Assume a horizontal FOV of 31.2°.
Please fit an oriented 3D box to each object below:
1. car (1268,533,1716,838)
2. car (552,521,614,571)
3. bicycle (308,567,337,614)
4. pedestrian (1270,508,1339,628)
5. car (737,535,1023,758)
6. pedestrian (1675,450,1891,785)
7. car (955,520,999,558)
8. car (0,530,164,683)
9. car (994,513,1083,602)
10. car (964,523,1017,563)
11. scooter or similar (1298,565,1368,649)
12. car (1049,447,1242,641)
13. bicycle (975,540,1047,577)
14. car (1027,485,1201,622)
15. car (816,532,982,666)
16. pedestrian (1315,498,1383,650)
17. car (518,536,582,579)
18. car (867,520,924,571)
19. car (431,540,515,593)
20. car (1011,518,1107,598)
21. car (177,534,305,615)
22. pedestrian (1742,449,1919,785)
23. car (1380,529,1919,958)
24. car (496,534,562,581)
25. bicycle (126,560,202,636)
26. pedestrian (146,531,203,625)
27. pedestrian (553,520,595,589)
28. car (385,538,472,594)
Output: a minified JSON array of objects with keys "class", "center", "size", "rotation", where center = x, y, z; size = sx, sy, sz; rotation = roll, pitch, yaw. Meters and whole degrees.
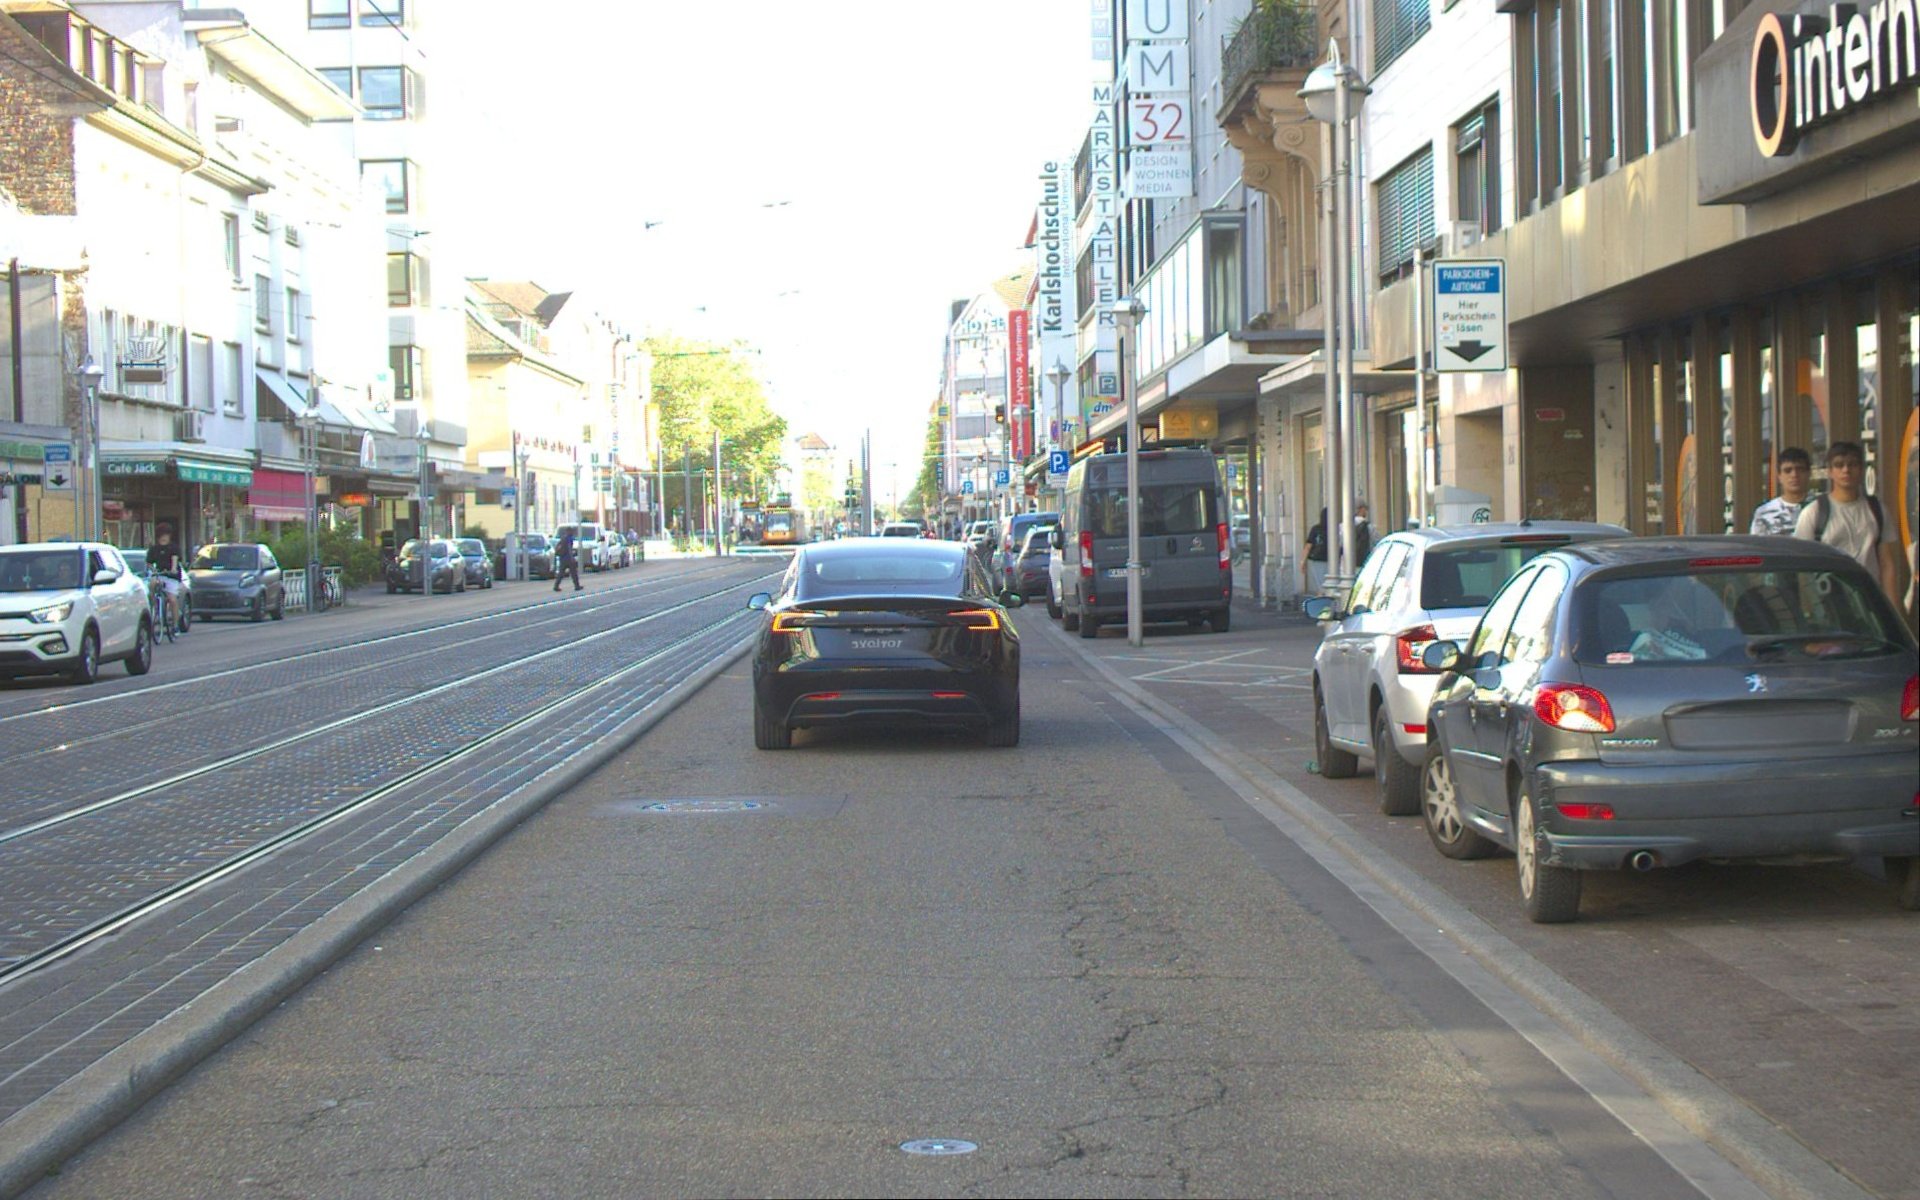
[{"class":"car","center":[2.825,0.381,19.158],"size":[1.745,1.457,4.296],"rotation":[-2,1,-1]},{"class":"car","center":[-15.250,-2.212,139.220],"size":[2.009,1.954,4.725],"rotation":[-1,1,-1]},{"class":"bicycle","center":[-13.974,-0.215,75.323],"size":[0.368,0.999,1.605],"rotation":[-2,1,-19]},{"class":"pedestrian","center":[4.596,-0.431,45.896],"size":[0.769,1.538,0.804],"rotation":[-3,1,-1]},{"class":"car","center":[-0.536,0.265,24.883],"size":[1.869,1.422,4.365],"rotation":[-1,2,0]},{"class":"pedestrian","center":[4.728,0.086,19.820],"size":[0.923,1.836,0.999],"rotation":[-3,1,0]},{"class":"car","center":[0.806,-2.899,164.043],"size":[1.993,1.747,4.000],"rotation":[-1,0,-1]},{"class":"car","center":[-10.424,0.053,38.694],"size":[1.890,1.588,4.263],"rotation":[-3,1,0]},{"class":"car","center":[1.683,-0.948,74.665],"size":[1.821,1.864,3.754],"rotation":[-1,2,0]},{"class":"car","center":[1.187,-2.245,135.550],"size":[1.993,1.537,4.000],"rotation":[-1,0,-1]},{"class":"scooter or similar","center":[4.400,0.076,40.598],"size":[0.593,0.933,1.299],"rotation":[-3,1,-2]},{"class":"car","center":[2.517,-0.807,48.116],"size":[2.171,2.453,5.362],"rotation":[-3,1,-1]},{"class":"bicycle","center":[1.580,-1.301,106.741],"size":[2.159,1.093,0.686],"rotation":[-1,1,-3]},{"class":"car","center":[2.397,-0.765,54.664],"size":[2.158,1.920,4.618],"rotation":[-4,2,-3]},{"class":"car","center":[-0.701,-0.031,39.178],"size":[1.761,1.414,4.355],"rotation":[-1,1,-1]},{"class":"pedestrian","center":[4.481,-0.307,39.632],"size":[0.556,1.708,0.955],"rotation":[-3,1,-2]},{"class":"car","center":[-14.996,-1.562,125.850],"size":[1.770,1.503,3.972],"rotation":[-1,1,1]},{"class":"car","center":[-2.416,-2.086,129.852],"size":[2.085,1.864,3.754],"rotation":[-1,2,0]},{"class":"car","center":[-14.519,-1.010,102.673],"size":[1.770,1.503,3.860],"rotation":[-1,1,3]},{"class":"car","center":[1.952,-0.863,68.527],"size":[1.751,1.494,3.754],"rotation":[-2,2,0]},{"class":"car","center":[-14.286,-0.533,68.456],"size":[1.675,1.540,3.743],"rotation":[1,1,1]},{"class":"pedestrian","center":[4.725,0.079,18.503],"size":[0.779,1.746,1.032],"rotation":[-1,1,0]},{"class":"car","center":[2.924,0.466,14.338],"size":[1.848,1.457,4.302],"rotation":[-2,1,1]},{"class":"car","center":[-15.040,-1.483,120.108],"size":[1.718,1.566,3.849],"rotation":[-1,1,1]},{"class":"bicycle","center":[-12.272,-0.044,53.054],"size":[0.578,1.111,1.953],"rotation":[-1,1,4]},{"class":"pedestrian","center":[-12.185,-0.350,53.362],"size":[0.624,1.439,0.874],"rotation":[-1,0,4]},{"class":"pedestrian","center":[-10.503,-1.236,93.488],"size":[0.772,1.842,0.827],"rotation":[-1,1,28]},{"class":"car","center":[-14.844,-0.969,96.191],"size":[1.769,1.503,3.864],"rotation":[-1,1,0]}]
